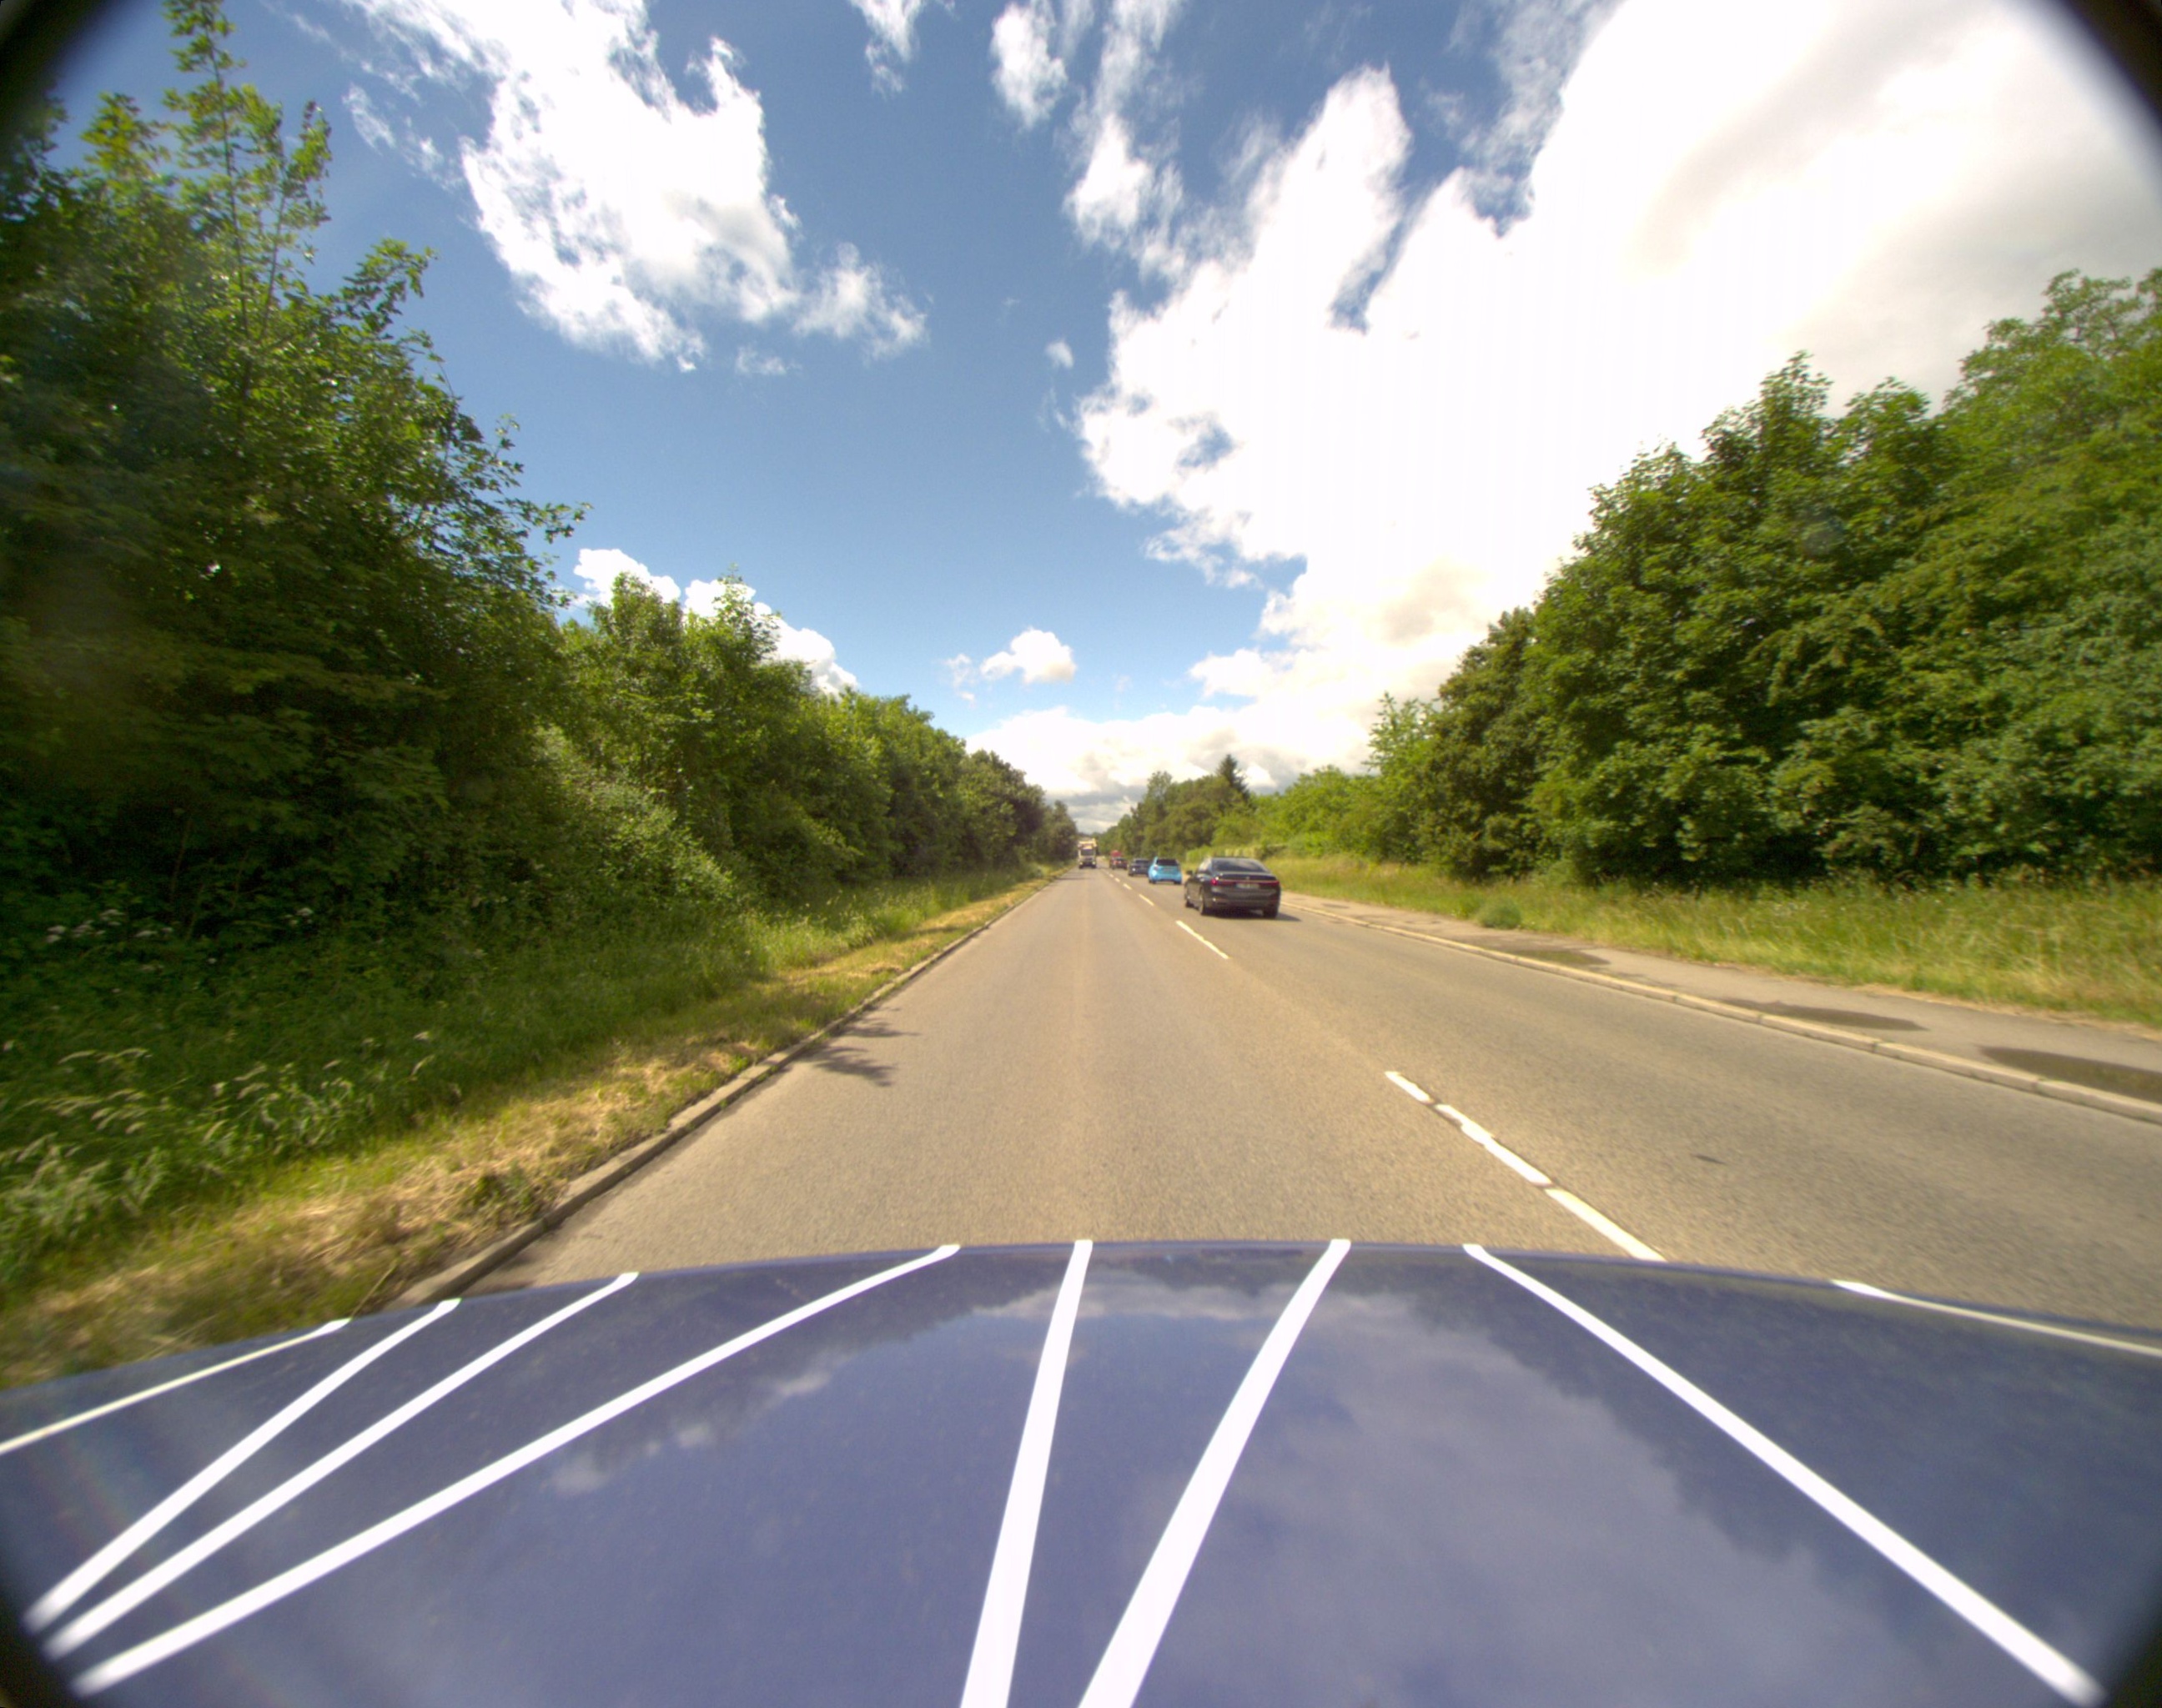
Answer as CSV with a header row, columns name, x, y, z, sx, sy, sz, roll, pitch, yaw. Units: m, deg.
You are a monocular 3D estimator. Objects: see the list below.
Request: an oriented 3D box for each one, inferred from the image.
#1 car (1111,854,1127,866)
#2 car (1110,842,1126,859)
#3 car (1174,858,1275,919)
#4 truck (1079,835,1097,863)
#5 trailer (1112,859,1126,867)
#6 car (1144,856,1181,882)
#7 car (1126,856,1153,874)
name,x,y,z,sx,sy,sz,roll,pitch,yaw
car,4.802,0.721,96.369,1.720,1.462,4.000,2,0,0
car,5.666,-0.475,116.537,1.974,2.535,4.724,2,0,-1
car,3.924,0.885,21.569,1.889,1.483,4.717,1,0,-1
truck,1.025,-0.646,108.067,2.306,3.790,8.183,-2,0,0
trailer,5.559,1.314,111.671,1.896,1.193,3.917,2,0,0
car,4.769,0.863,44.748,1.789,1.438,2.966,1,0,-1
car,4.763,0.883,62.171,1.789,1.438,4.452,1,0,-1
